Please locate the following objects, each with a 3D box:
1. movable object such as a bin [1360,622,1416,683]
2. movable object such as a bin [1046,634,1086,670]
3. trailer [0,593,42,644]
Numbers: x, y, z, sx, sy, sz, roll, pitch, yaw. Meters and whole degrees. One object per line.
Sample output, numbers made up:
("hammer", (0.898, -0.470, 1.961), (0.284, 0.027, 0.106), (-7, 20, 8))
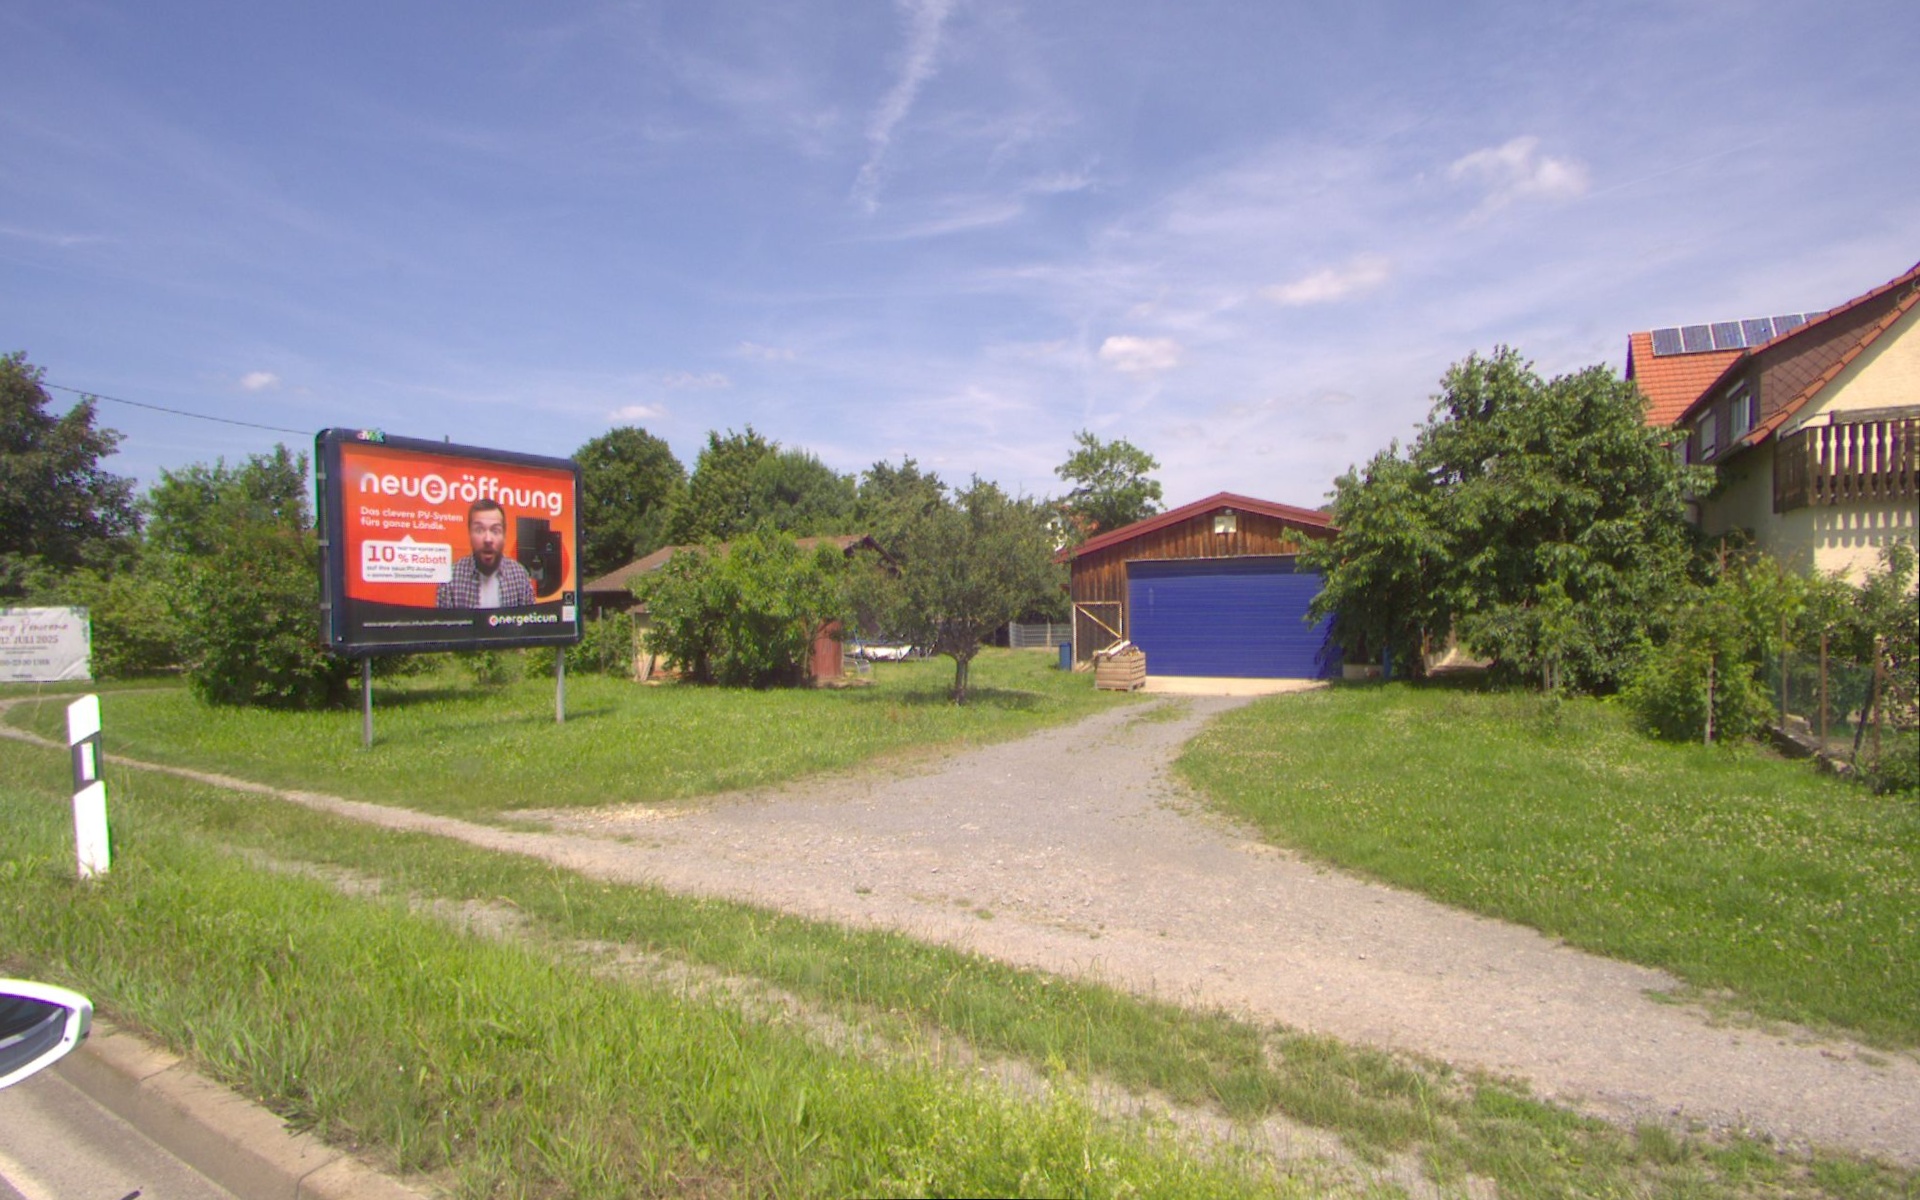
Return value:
("movable object such as a bin", (10.353, 1.251, 24.227), (1.049, 1.415, 1.271), (0, -1, 33))
("movable object such as a bin", (3.230, 1.576, 30.402), (1.044, 1.046, 1.040), (0, -1, 17))
("trailer", (-95.499, 1.809, 98.586), (5.129, 4.688, 15.794), (1, -1, -34))
